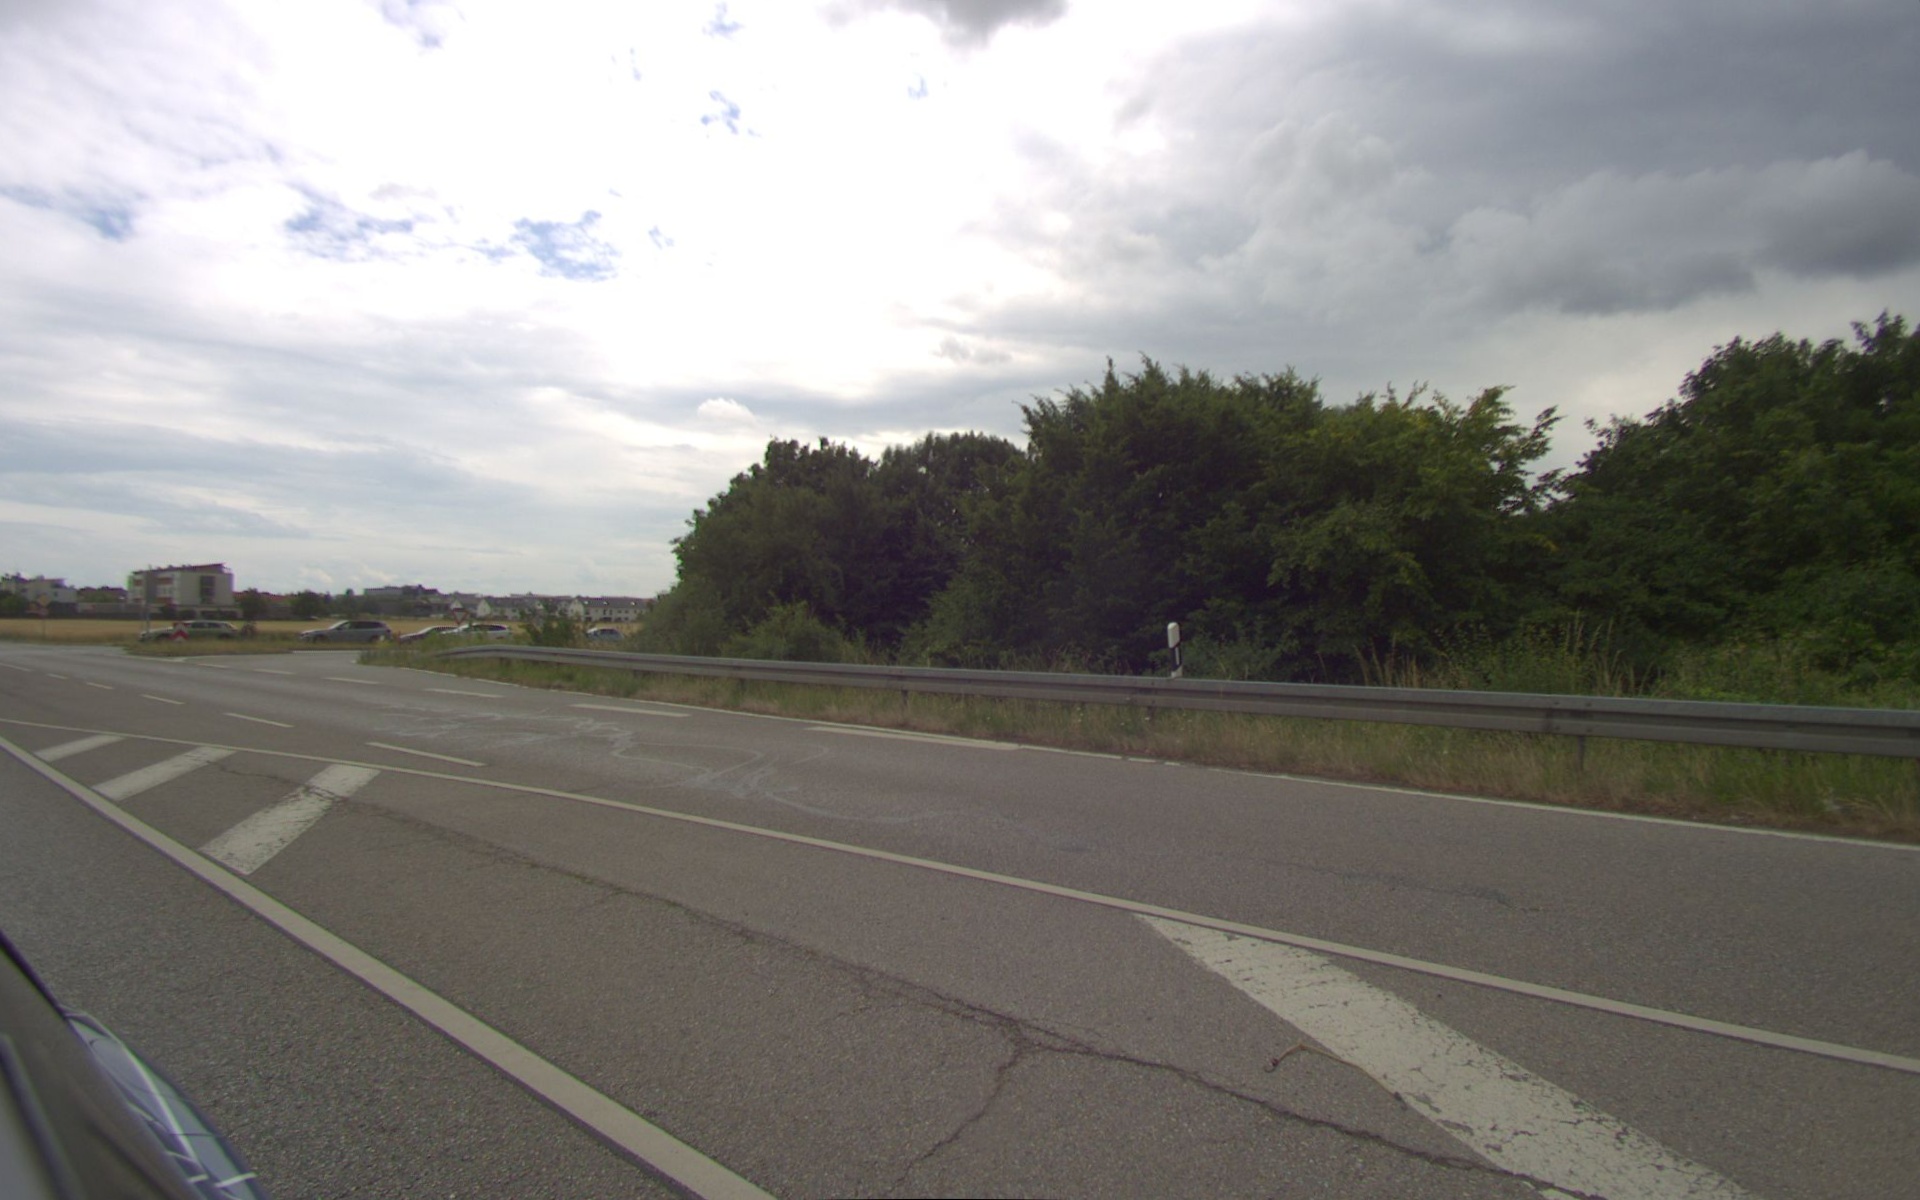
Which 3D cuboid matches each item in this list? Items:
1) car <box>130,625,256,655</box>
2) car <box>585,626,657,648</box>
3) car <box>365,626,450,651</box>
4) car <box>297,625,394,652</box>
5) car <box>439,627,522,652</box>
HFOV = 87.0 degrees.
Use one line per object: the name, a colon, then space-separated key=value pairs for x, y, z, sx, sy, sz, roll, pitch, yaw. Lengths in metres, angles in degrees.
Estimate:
car: x=-41.201 y=2.109 z=54.473 sx=5.221 sy=1.533 sz=1.913 roll=2 pitch=-2 yaw=-43
car: x=-23.848 y=2.621 z=71.311 sx=4.437 sy=1.493 sz=1.913 roll=2 pitch=-2 yaw=-43
car: x=-34.856 y=2.431 z=63.911 sx=4.345 sy=1.493 sz=1.913 roll=2 pitch=-2 yaw=-43
car: x=-36.143 y=2.226 z=59.587 sx=4.568 sy=1.528 sz=1.913 roll=2 pitch=-2 yaw=-43
car: x=-30.449 y=2.492 z=64.337 sx=4.437 sy=1.493 sz=1.913 roll=2 pitch=-2 yaw=-43
